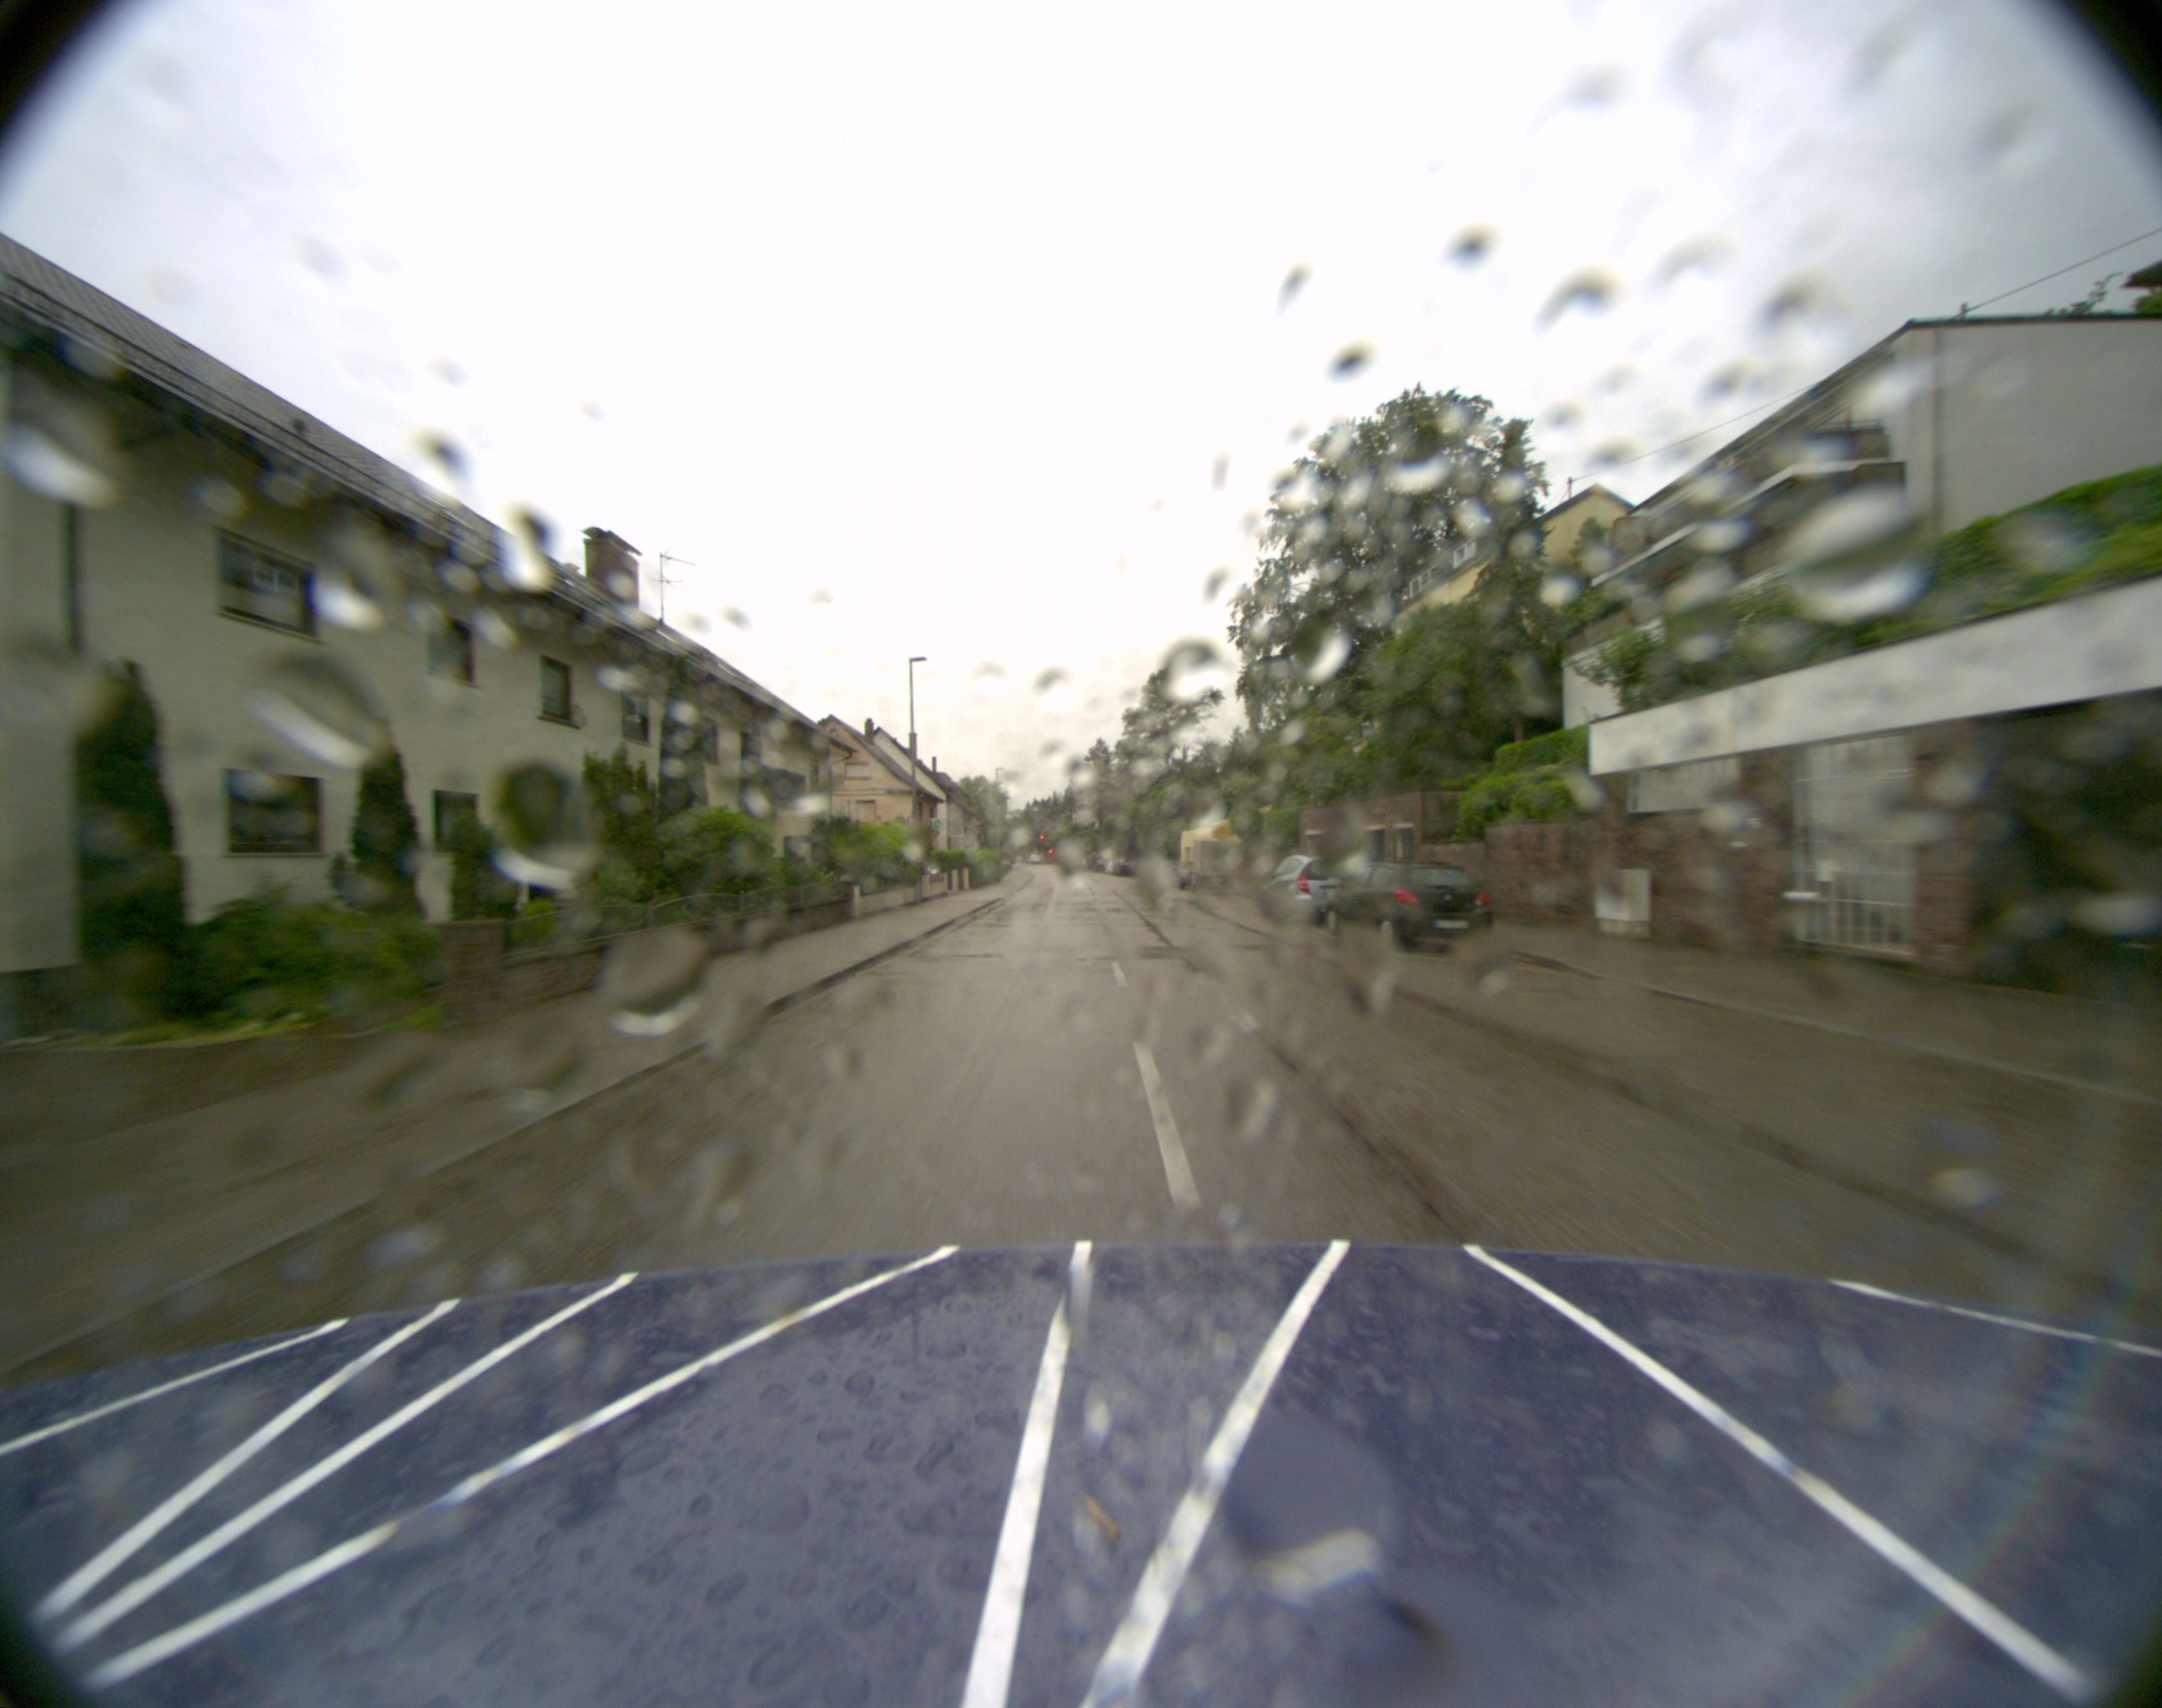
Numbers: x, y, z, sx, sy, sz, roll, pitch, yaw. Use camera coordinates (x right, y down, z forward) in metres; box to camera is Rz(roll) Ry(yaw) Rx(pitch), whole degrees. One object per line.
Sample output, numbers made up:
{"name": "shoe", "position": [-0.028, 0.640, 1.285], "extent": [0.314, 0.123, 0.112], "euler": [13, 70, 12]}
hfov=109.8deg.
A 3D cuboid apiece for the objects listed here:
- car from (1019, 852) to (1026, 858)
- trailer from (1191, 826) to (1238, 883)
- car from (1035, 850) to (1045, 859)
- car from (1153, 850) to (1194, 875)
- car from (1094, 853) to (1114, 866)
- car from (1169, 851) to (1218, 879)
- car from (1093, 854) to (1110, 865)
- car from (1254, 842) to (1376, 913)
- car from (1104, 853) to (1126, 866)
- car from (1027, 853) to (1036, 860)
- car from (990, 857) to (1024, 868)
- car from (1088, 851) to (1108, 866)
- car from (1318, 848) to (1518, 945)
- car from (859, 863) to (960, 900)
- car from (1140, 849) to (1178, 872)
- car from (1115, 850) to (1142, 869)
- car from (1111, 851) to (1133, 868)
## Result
{"name": "car", "position": [-19.430, 0.311, 250.897], "extent": [1.926, 1.747, 3.997], "euler": [-2, 1, -8]}
{"name": "trailer", "position": [5.867, 0.035, 33.639], "extent": [1.540, 2.385, 3.073], "euler": [1, 0, 1]}
{"name": "car", "position": [-10.799, 0.152, 200.304], "extent": [2.086, 2.464, 4.849], "euler": [2, 0, -9]}
{"name": "car", "position": [5.526, 0.513, 45.672], "extent": [1.790, 1.407, 4.216], "euler": [1, 0, -2]}
{"name": "car", "position": [2.731, 0.606, 90.579], "extent": [1.914, 1.472, 4.753], "euler": [2, 0, -4]}
{"name": "car", "position": [5.669, 0.565, 38.818], "extent": [1.813, 1.341, 3.775], "euler": [1, 0, -2]}
{"name": "car", "position": [2.541, 0.676, 95.675], "extent": [1.569, 1.357, 3.905], "euler": [1, 0, -6]}
{"name": "car", "position": [5.640, 0.533, 18.789], "extent": [1.760, 1.530, 3.756], "euler": [2, 0, -1]}
{"name": "car", "position": [3.519, 0.575, 79.445], "extent": [1.721, 1.357, 4.081], "euler": [2, -1, -6]}
{"name": "car", "position": [-14.187, 0.636, 217.704], "extent": [2.164, 1.944, 4.912], "euler": [2, 0, -9]}
{"name": "car", "position": [-10.286, 1.217, 105.424], "extent": [4.371, 1.356, 1.922], "euler": [-1, 2, 28]}
{"name": "car", "position": [2.228, 0.527, 100.861], "extent": [2.165, 1.908, 5.320], "euler": [0, 0, -5]}
{"name": "car", "position": [5.652, 0.652, 13.287], "extent": [1.760, 1.401, 3.704], "euler": [2, 0, -1]}
{"name": "car", "position": [-7.874, 1.253, 35.188], "extent": [4.233, 1.437, 1.702], "euler": [-3, 0, -3]}
{"name": "car", "position": [5.222, 0.463, 51.575], "extent": [1.790, 1.446, 4.754], "euler": [2, 0, -4]}
{"name": "car", "position": [4.307, 0.499, 69.445], "extent": [1.879, 1.616, 4.592], "euler": [2, 0, -3]}
{"name": "car", "position": [4.043, 0.537, 74.719], "extent": [1.746, 1.552, 4.108], "euler": [1, 0, -2]}
